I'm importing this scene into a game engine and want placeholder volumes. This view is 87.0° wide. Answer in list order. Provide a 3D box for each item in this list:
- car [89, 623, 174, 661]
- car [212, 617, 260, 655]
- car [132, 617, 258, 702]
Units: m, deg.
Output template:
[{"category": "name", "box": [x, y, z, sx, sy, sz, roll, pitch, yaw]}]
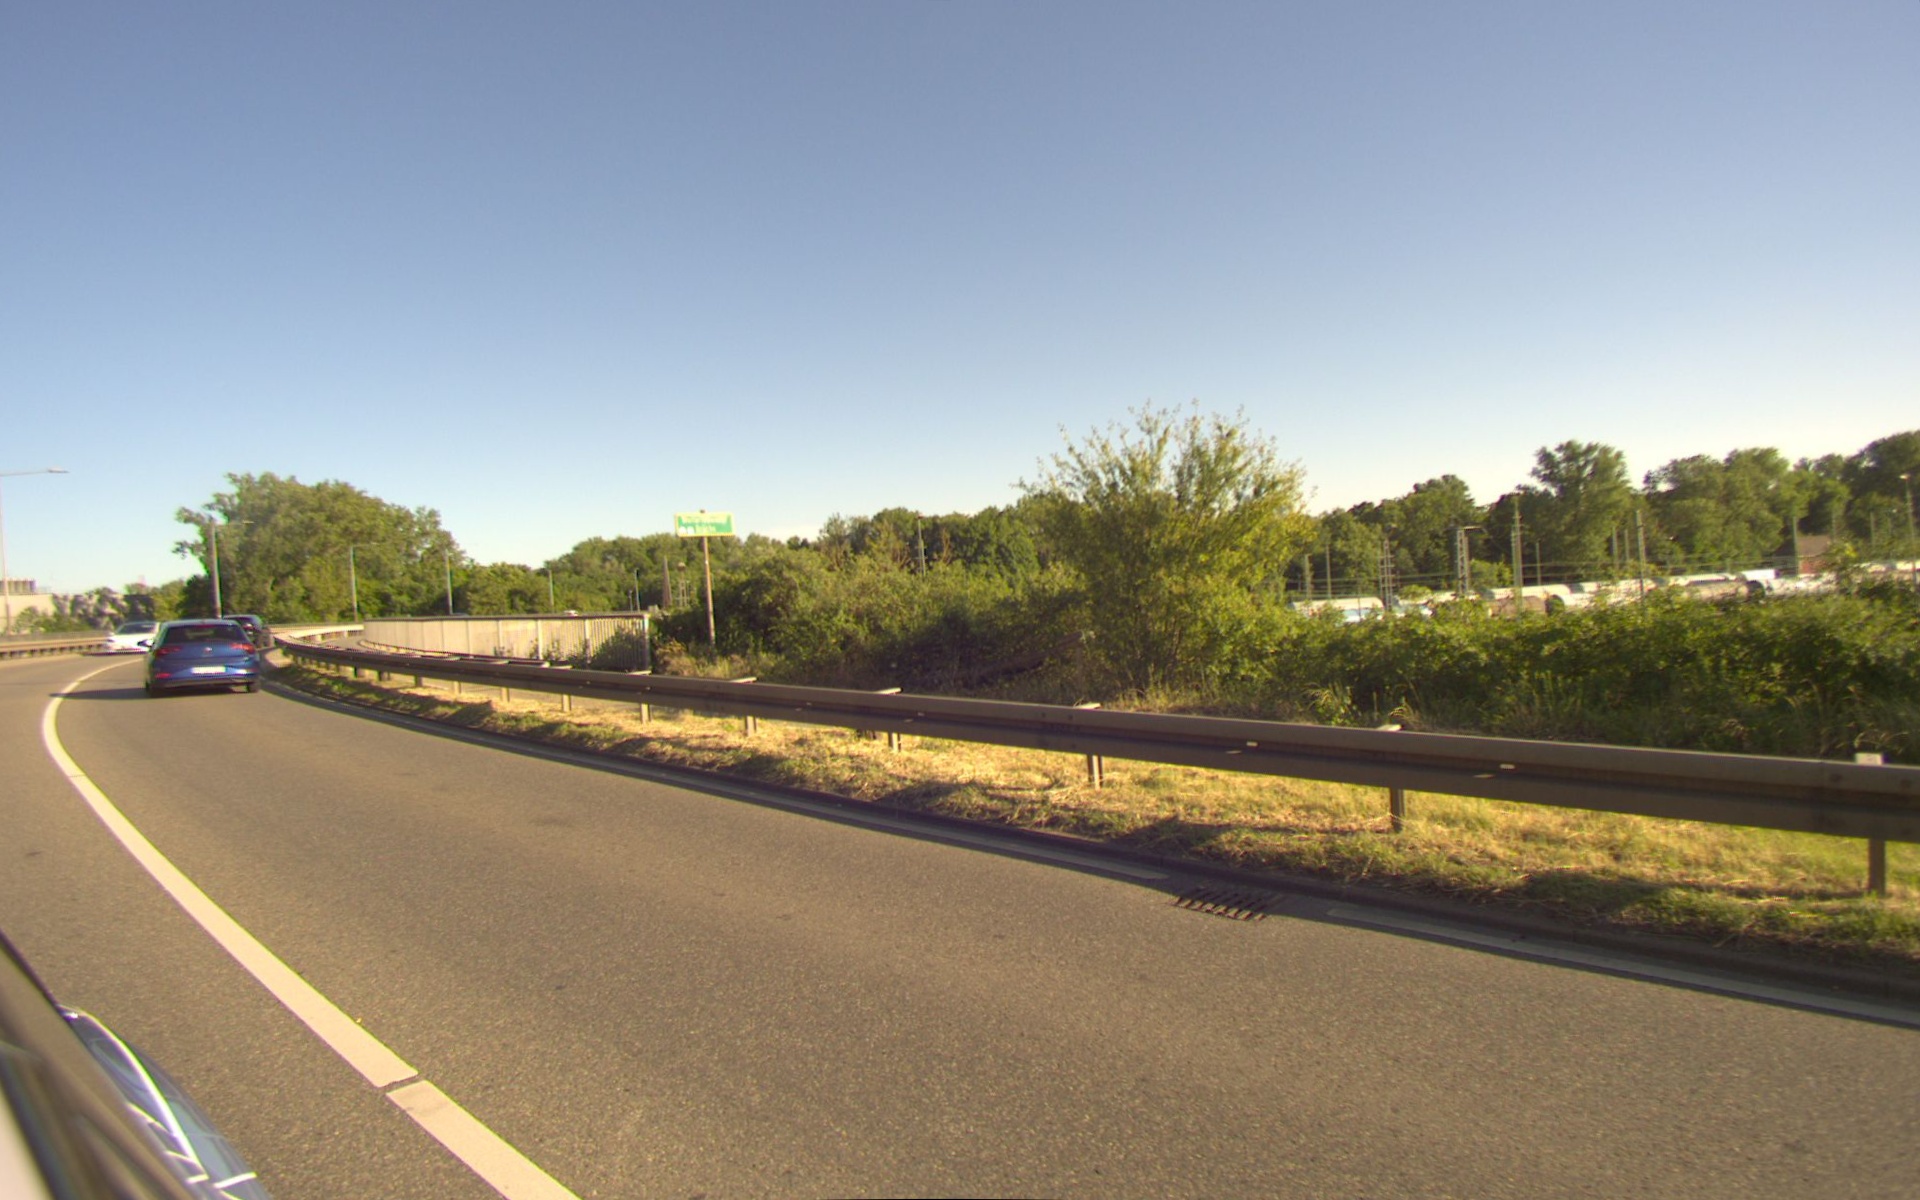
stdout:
[{"category": "car", "box": [-37.308, 1.870, 45.689, 2.114, 1.579, 4.212, 0, -1, -27]}, {"category": "car", "box": [-35.356, 1.717, 49.486, 1.656, 1.668, 3.869, -1, 0, -32]}, {"category": "car", "box": [-15.269, 1.105, 20.121, 1.658, 1.462, 4.005, -1, 0, -42]}]
